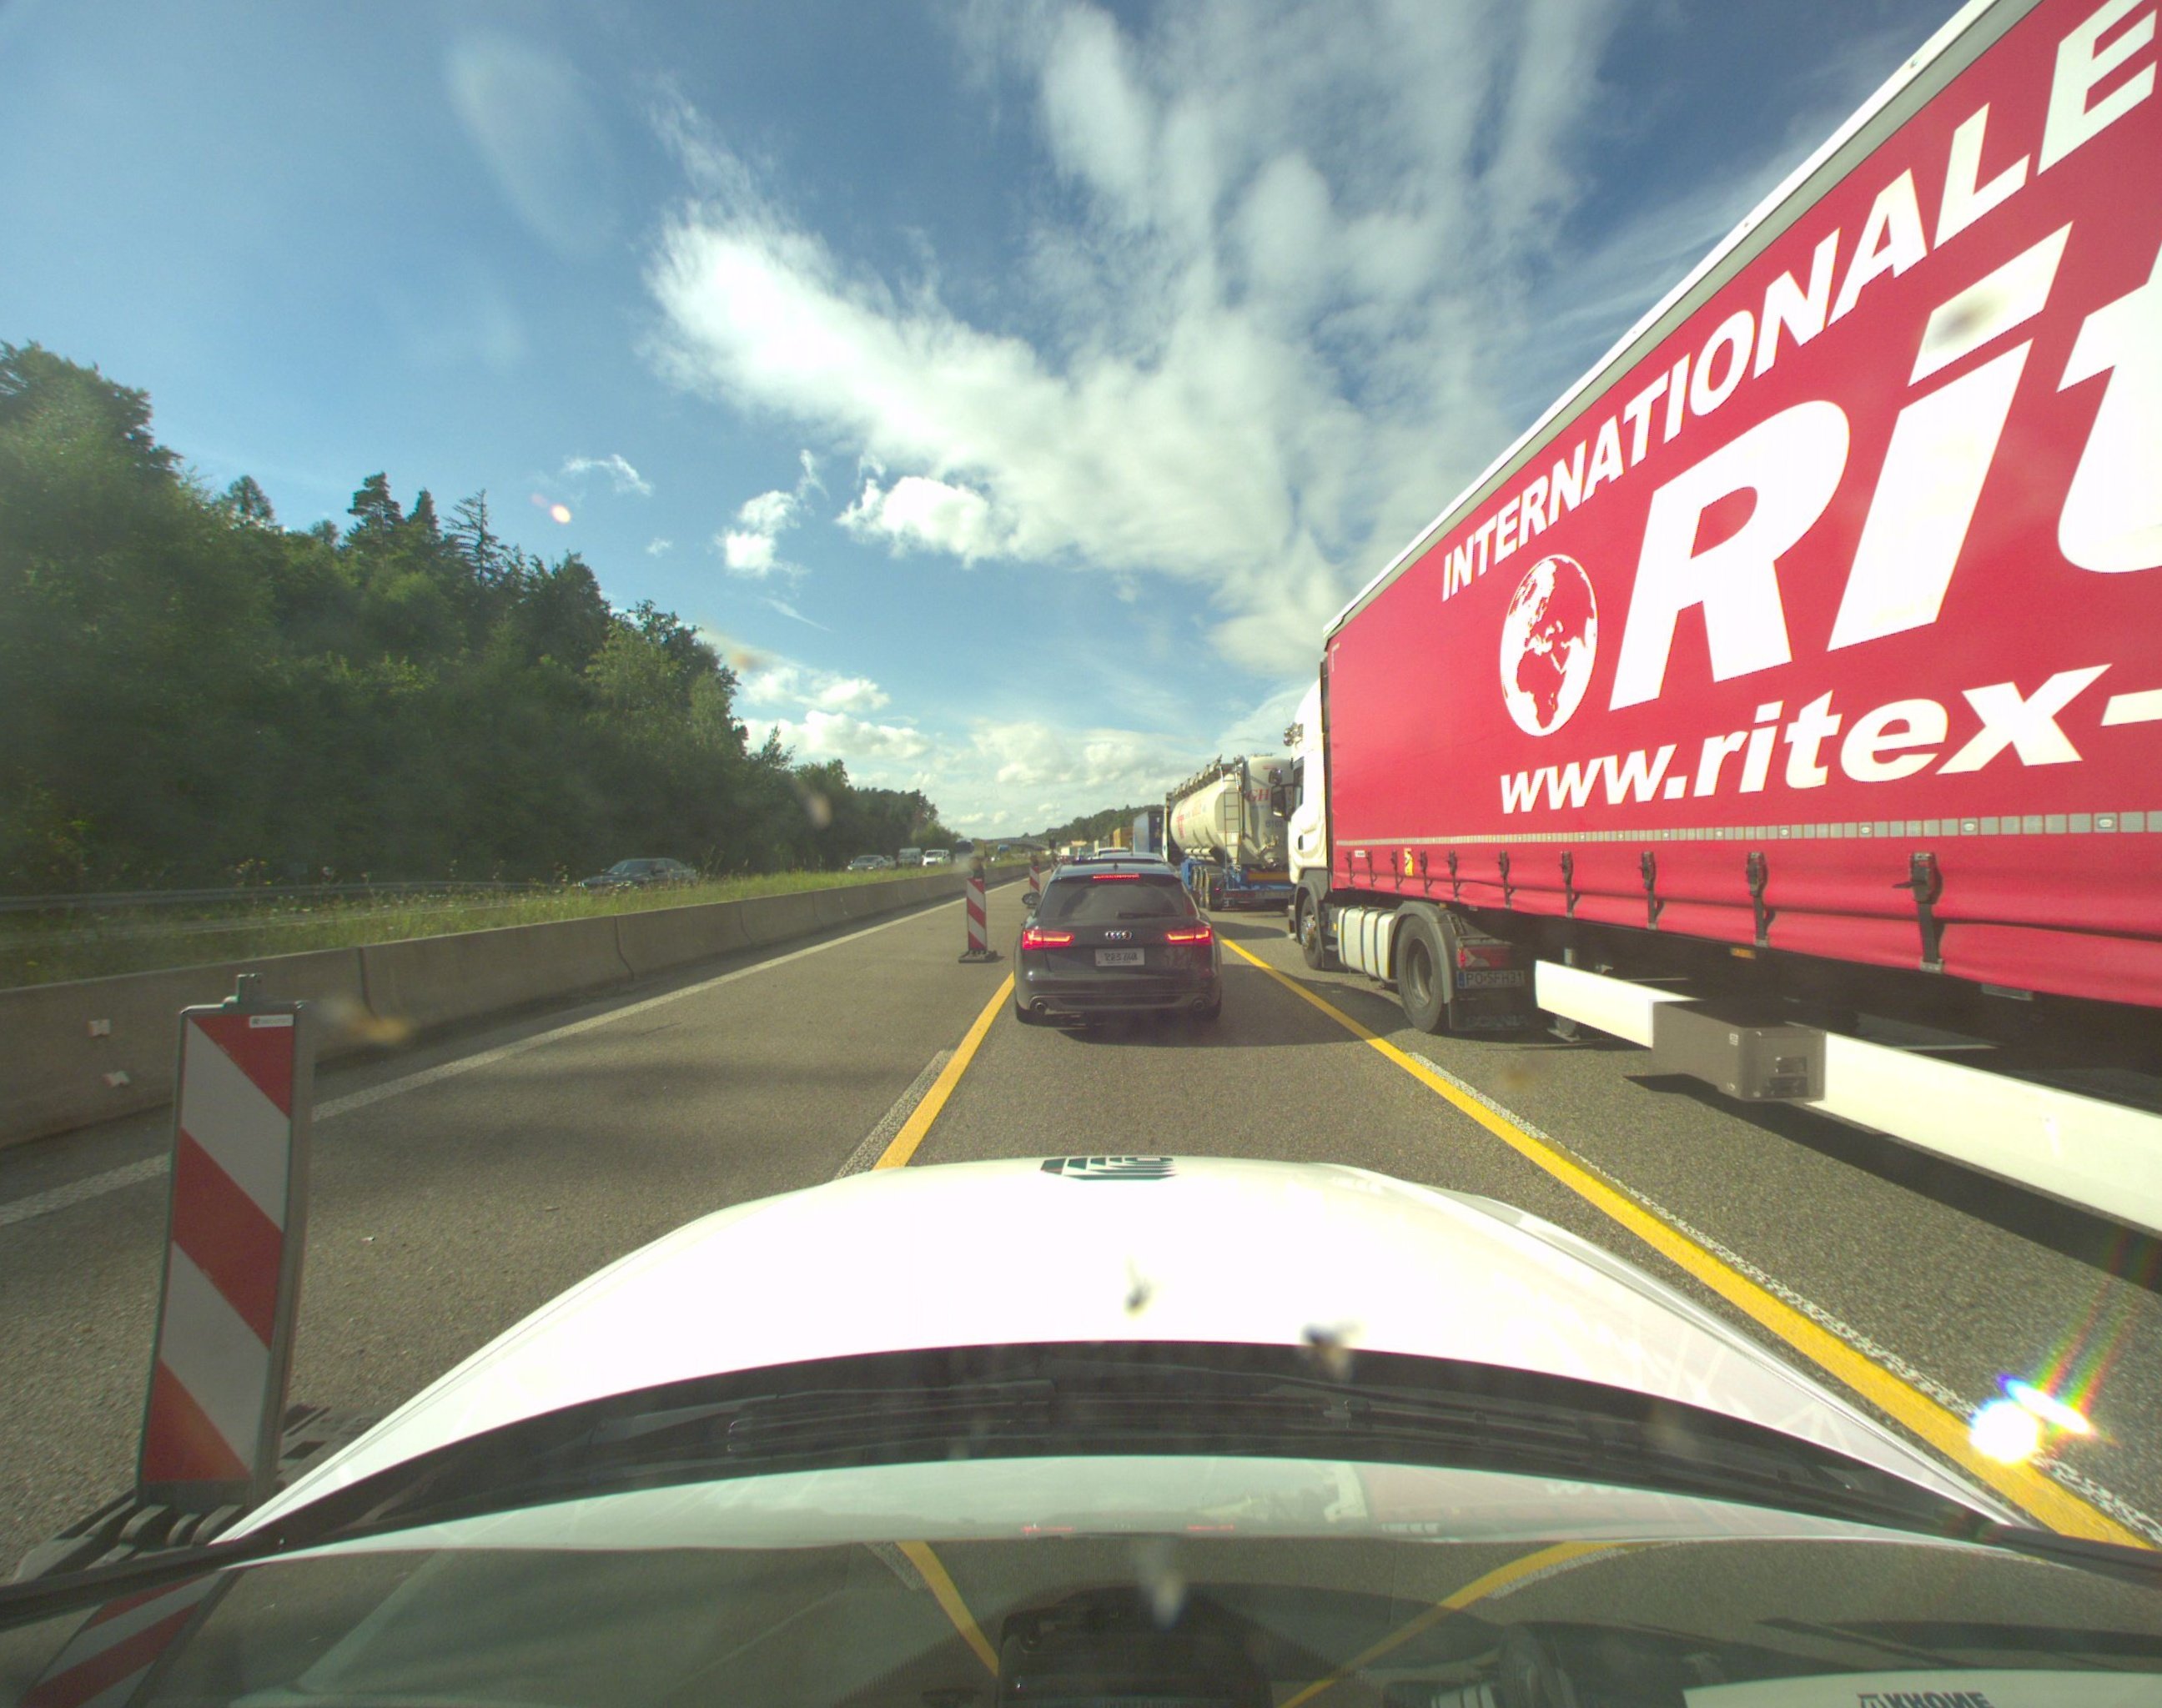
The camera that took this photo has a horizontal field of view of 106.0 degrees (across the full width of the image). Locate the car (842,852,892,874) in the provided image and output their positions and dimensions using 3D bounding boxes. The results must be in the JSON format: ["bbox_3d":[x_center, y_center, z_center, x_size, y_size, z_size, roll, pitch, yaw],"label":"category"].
[{"bbox_3d":[-13.617,0.587,52.081,1.951,1.363,4.289,0,-1,2],"label":"car"}]

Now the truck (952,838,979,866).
[{"bbox_3d":[-16.620,-0.293,117.773,2.816,3.909,5.951,0,-1,2],"label":"truck"}]

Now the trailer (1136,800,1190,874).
[{"bbox_3d":[5.252,-0.959,53.734,2.795,4.413,10.436,0,-1,2],"label":"trailer"}]

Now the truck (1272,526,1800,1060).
[{"bbox_3d":[4.052,-0.456,8.909,2.658,3.959,5.711,0,0,1],"label":"truck"}]

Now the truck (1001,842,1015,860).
[{"bbox_3d":[-17.117,-0.689,191.769,2.628,4.189,5.469,-1,0,2],"label":"truck"}]

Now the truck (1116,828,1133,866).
[{"bbox_3d":[4.523,-0.698,85.005,1.604,3.897,4.072,0,-1,1],"label":"truck"}]

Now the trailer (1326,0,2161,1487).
[{"bbox_3d":[3.926,-0.479,2.308,2.690,3.969,13.420,0,0,1],"label":"trailer"}]

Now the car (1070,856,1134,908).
[{"bbox_3d":[0.630,0.784,24.190,1.745,1.397,3.609,0,-1,2],"label":"car"}]

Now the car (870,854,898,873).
[{"bbox_3d":[-21.326,1.001,88.350,1.986,2.014,4.001,0,-1,2],"label":"car"}]

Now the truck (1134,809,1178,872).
[{"bbox_3d":[5.475,-0.904,60.829,2.795,4.370,7.794,0,-1,2],"label":"truck"}]

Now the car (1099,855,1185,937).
[{"bbox_3d":[1.130,0.761,16.057,1.518,1.439,3.286,0,-1,2],"label":"car"}]

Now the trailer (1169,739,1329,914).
[{"bbox_3d":[4.475,-0.609,24.766,2.634,3.943,12.602,0,0,2],"label":"trailer"}]

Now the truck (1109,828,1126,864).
[{"bbox_3d":[5.106,-1.121,115.014,1.987,4.914,9.562,-1,0,1],"label":"truck"}]

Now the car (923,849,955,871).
[{"bbox_3d":[-13.182,0.572,75.893,1.986,2.014,4.833,0,-1,2],"label":"car"}]

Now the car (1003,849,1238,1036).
[{"bbox_3d":[0.375,0.719,8.469,1.842,1.463,4.001,-1,-1,2],"label":"car"}]

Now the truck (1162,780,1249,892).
[{"bbox_3d":[4.676,-0.618,31.691,2.649,3.972,5.781,0,-1,2],"label":"truck"}]

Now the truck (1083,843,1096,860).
[{"bbox_3d":[2.182,-0.689,210.301,3.293,4.175,9.700,-1,0,0],"label":"truck"}]

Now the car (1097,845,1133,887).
[{"bbox_3d":[1.568,0.556,37.639,1.575,1.837,3.113,0,-1,2],"label":"car"}]

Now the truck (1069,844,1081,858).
[{"bbox_3d":[-1.785,-0.803,242.098,3.295,4.174,9.697,-1,0,-1],"label":"truck"}]

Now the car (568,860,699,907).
[{"bbox_3d":[-14.381,0.904,26.489,1.772,1.387,4.312,0,-1,2],"label":"car"}]

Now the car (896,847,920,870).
[{"bbox_3d":[-20.816,0.558,98.209,2.247,2.643,5.009,0,-1,-6],"label":"car"}]

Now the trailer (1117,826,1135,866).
[{"bbox_3d":[4.458,-0.743,81.352,1.611,3.918,6.490,0,-1,1],"label":"trailer"}]

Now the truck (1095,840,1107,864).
[{"bbox_3d":[3.594,-0.318,148.347,2.130,4.257,7.073,0,-1,1],"label":"truck"}]
